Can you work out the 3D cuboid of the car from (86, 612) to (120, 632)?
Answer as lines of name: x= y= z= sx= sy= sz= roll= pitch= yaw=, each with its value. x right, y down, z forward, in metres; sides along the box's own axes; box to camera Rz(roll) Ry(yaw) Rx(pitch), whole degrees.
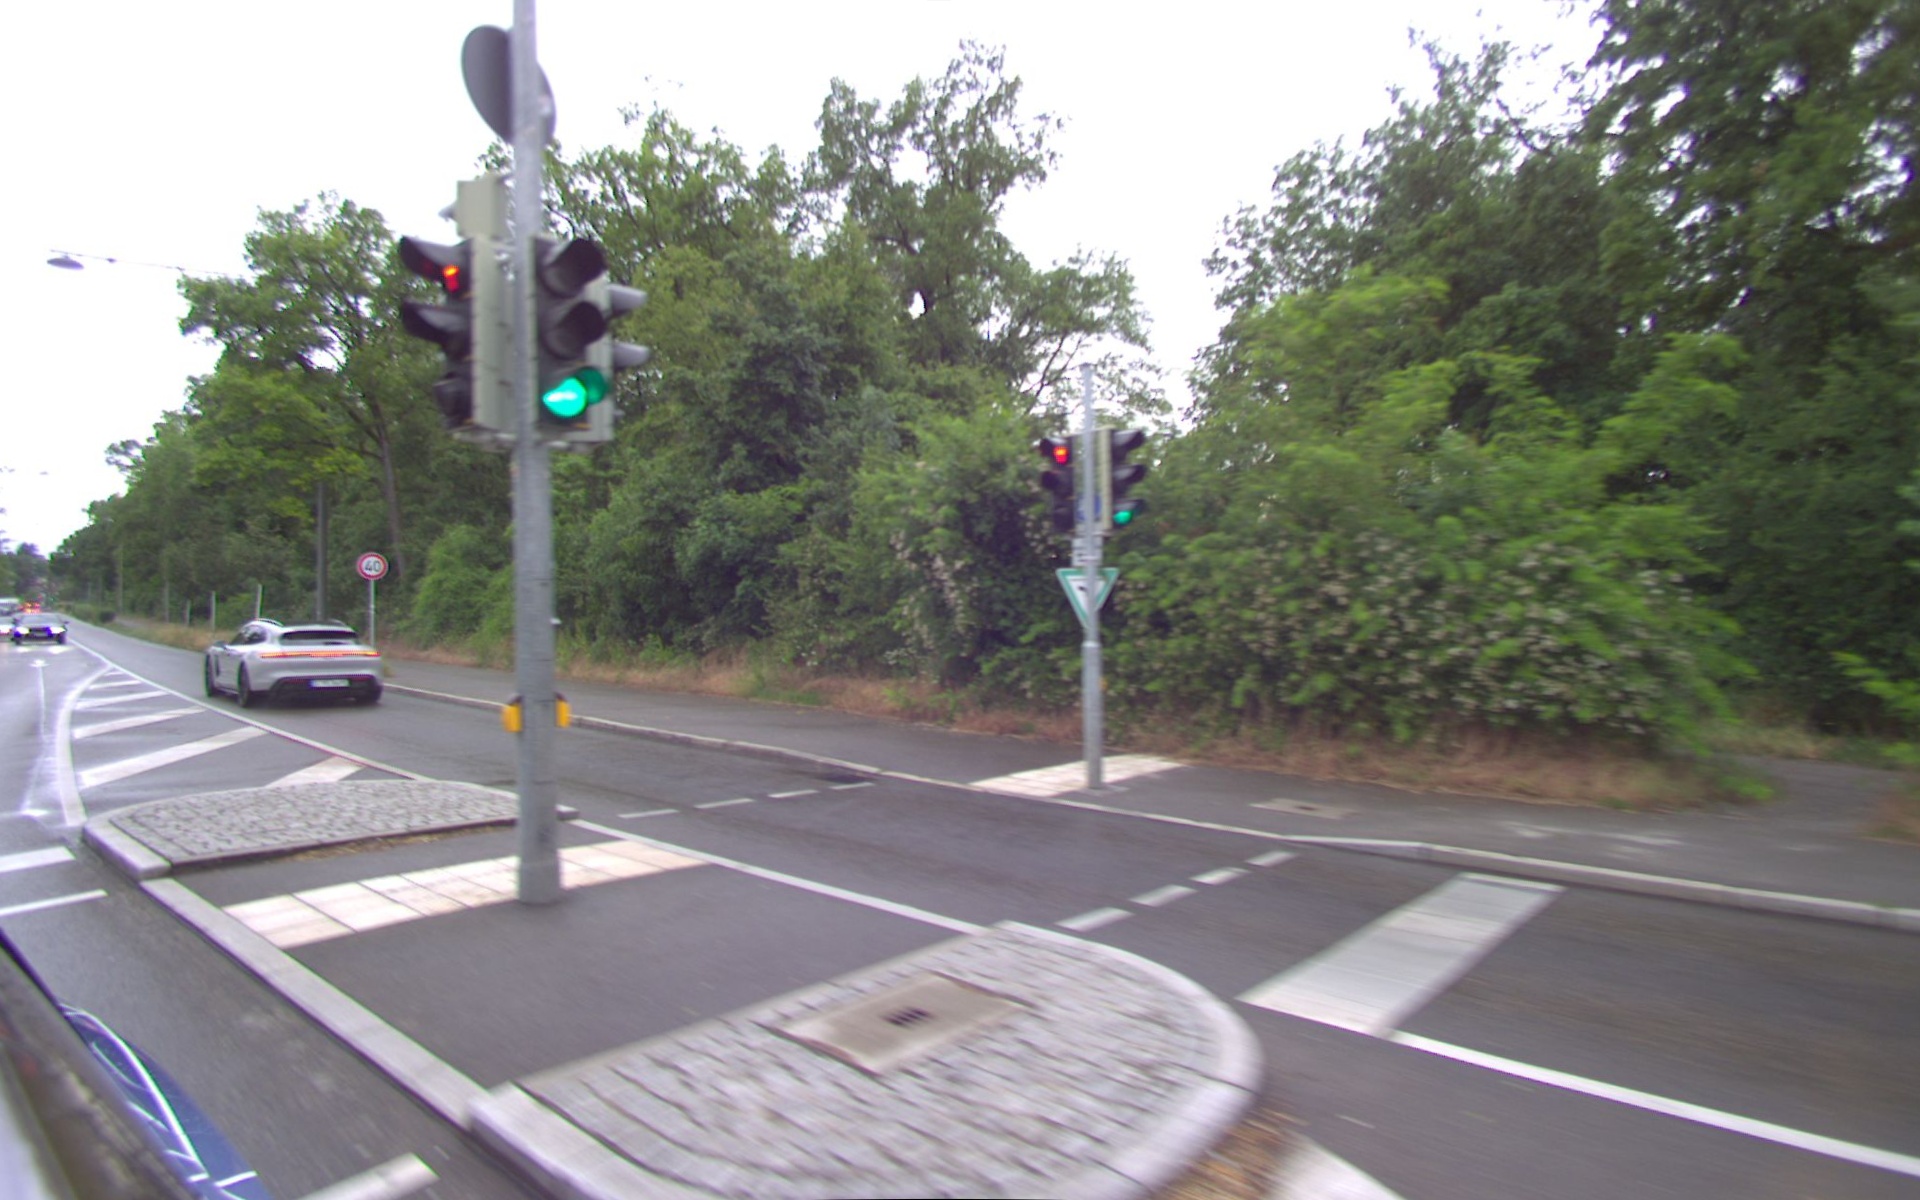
car: x=-73.425 y=1.905 z=86.729 sx=1.917 sy=1.615 sz=4.608 roll=2 pitch=-3 yaw=-44

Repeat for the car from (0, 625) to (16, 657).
car: x=-51.140 y=2.123 z=53.344 sx=1.917 sy=1.615 sz=4.608 roll=2 pitch=-3 yaw=-44

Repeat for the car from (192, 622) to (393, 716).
car: x=-11.629 y=1.102 z=17.506 sx=4.605 sy=1.386 sz=1.918 roll=-1 pitch=-3 yaw=44

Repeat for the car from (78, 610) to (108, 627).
car: x=-83.634 y=1.800 z=97.604 sx=1.917 sy=1.615 sz=4.608 roll=2 pitch=-3 yaw=-44

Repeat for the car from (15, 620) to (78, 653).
car: x=-42.927 y=1.683 z=47.525 sx=1.918 sy=1.466 sz=4.606 roll=3 pitch=-3 yaw=-45

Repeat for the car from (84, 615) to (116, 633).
car: x=-79.121 y=2.210 z=93.117 sx=1.917 sy=1.615 sz=4.608 roll=2 pitch=-3 yaw=-44
